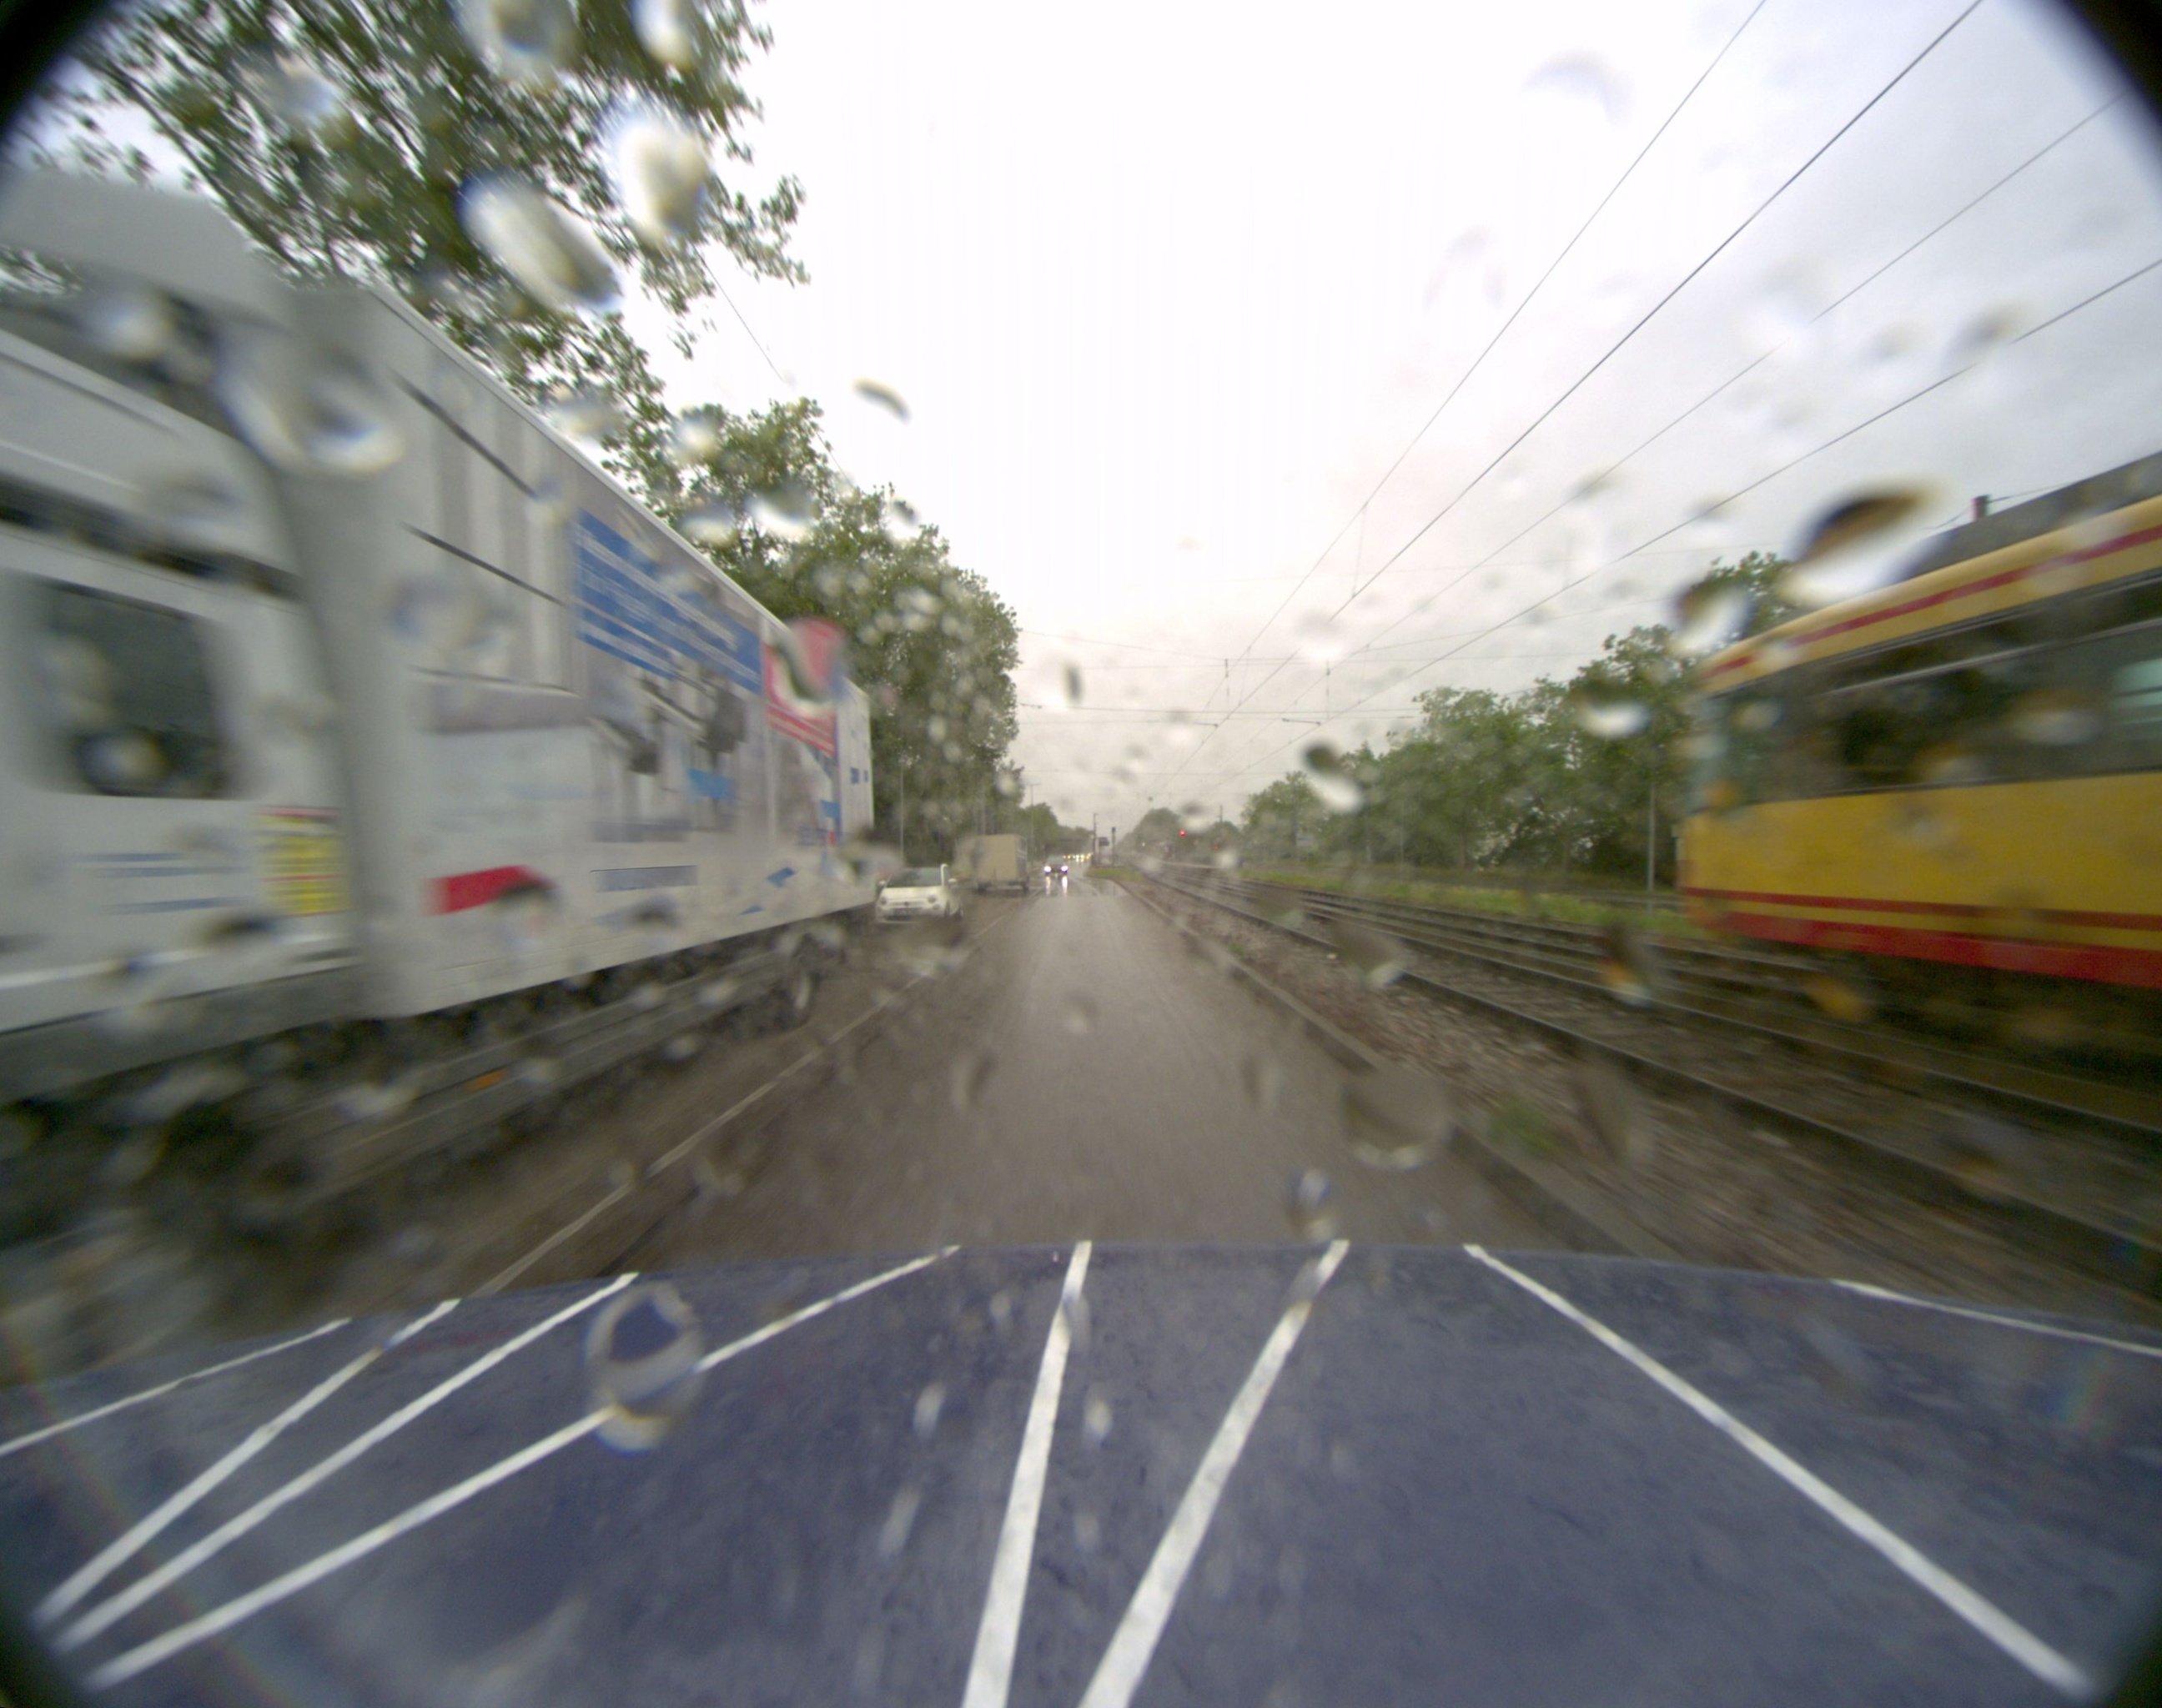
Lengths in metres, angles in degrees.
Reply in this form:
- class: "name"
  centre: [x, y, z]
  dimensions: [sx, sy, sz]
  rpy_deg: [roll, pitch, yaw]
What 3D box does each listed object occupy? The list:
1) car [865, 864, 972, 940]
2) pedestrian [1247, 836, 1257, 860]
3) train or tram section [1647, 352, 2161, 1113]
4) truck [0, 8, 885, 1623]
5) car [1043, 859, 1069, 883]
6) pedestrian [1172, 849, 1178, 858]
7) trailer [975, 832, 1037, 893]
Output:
- class: "car"
  centre: [-3.852, 1.072, 18.657]
  dimensions: [1.718, 1.520, 3.999]
  rpy_deg: [-3, 0, 0]
- class: "pedestrian"
  centre: [28.261, -0.968, 125.776]
  dimensions: [1.169, 4.006, 1.522]
  rpy_deg: [0, 2, 29]
- class: "train or tram section"
  centre: [7.237, -0.662, 1.408]
  dimensions: [2.813, 4.125, 13.018]
  rpy_deg: [-1, 0, 1]
- class: "truck"
  centre: [-3.934, -0.142, 5.118]
  dimensions: [2.783, 3.683, 9.849]
  rpy_deg: [-1, 1, -1]
- class: "car"
  centre: [-2.208, 1.451, 67.201]
  dimensions: [1.998, 2.002, 4.000]
  rpy_deg: [-1, 1, 2]
- class: "pedestrian"
  centre: [13.841, -0.019, 111.865]
  dimensions: [0.833, 1.309, 0.858]
  rpy_deg: [-2, 1, 2]
- class: "trailer"
  centre: [-3.598, 0.340, 37.687]
  dimensions: [2.171, 2.742, 5.676]
  rpy_deg: [-1, 1, 3]
